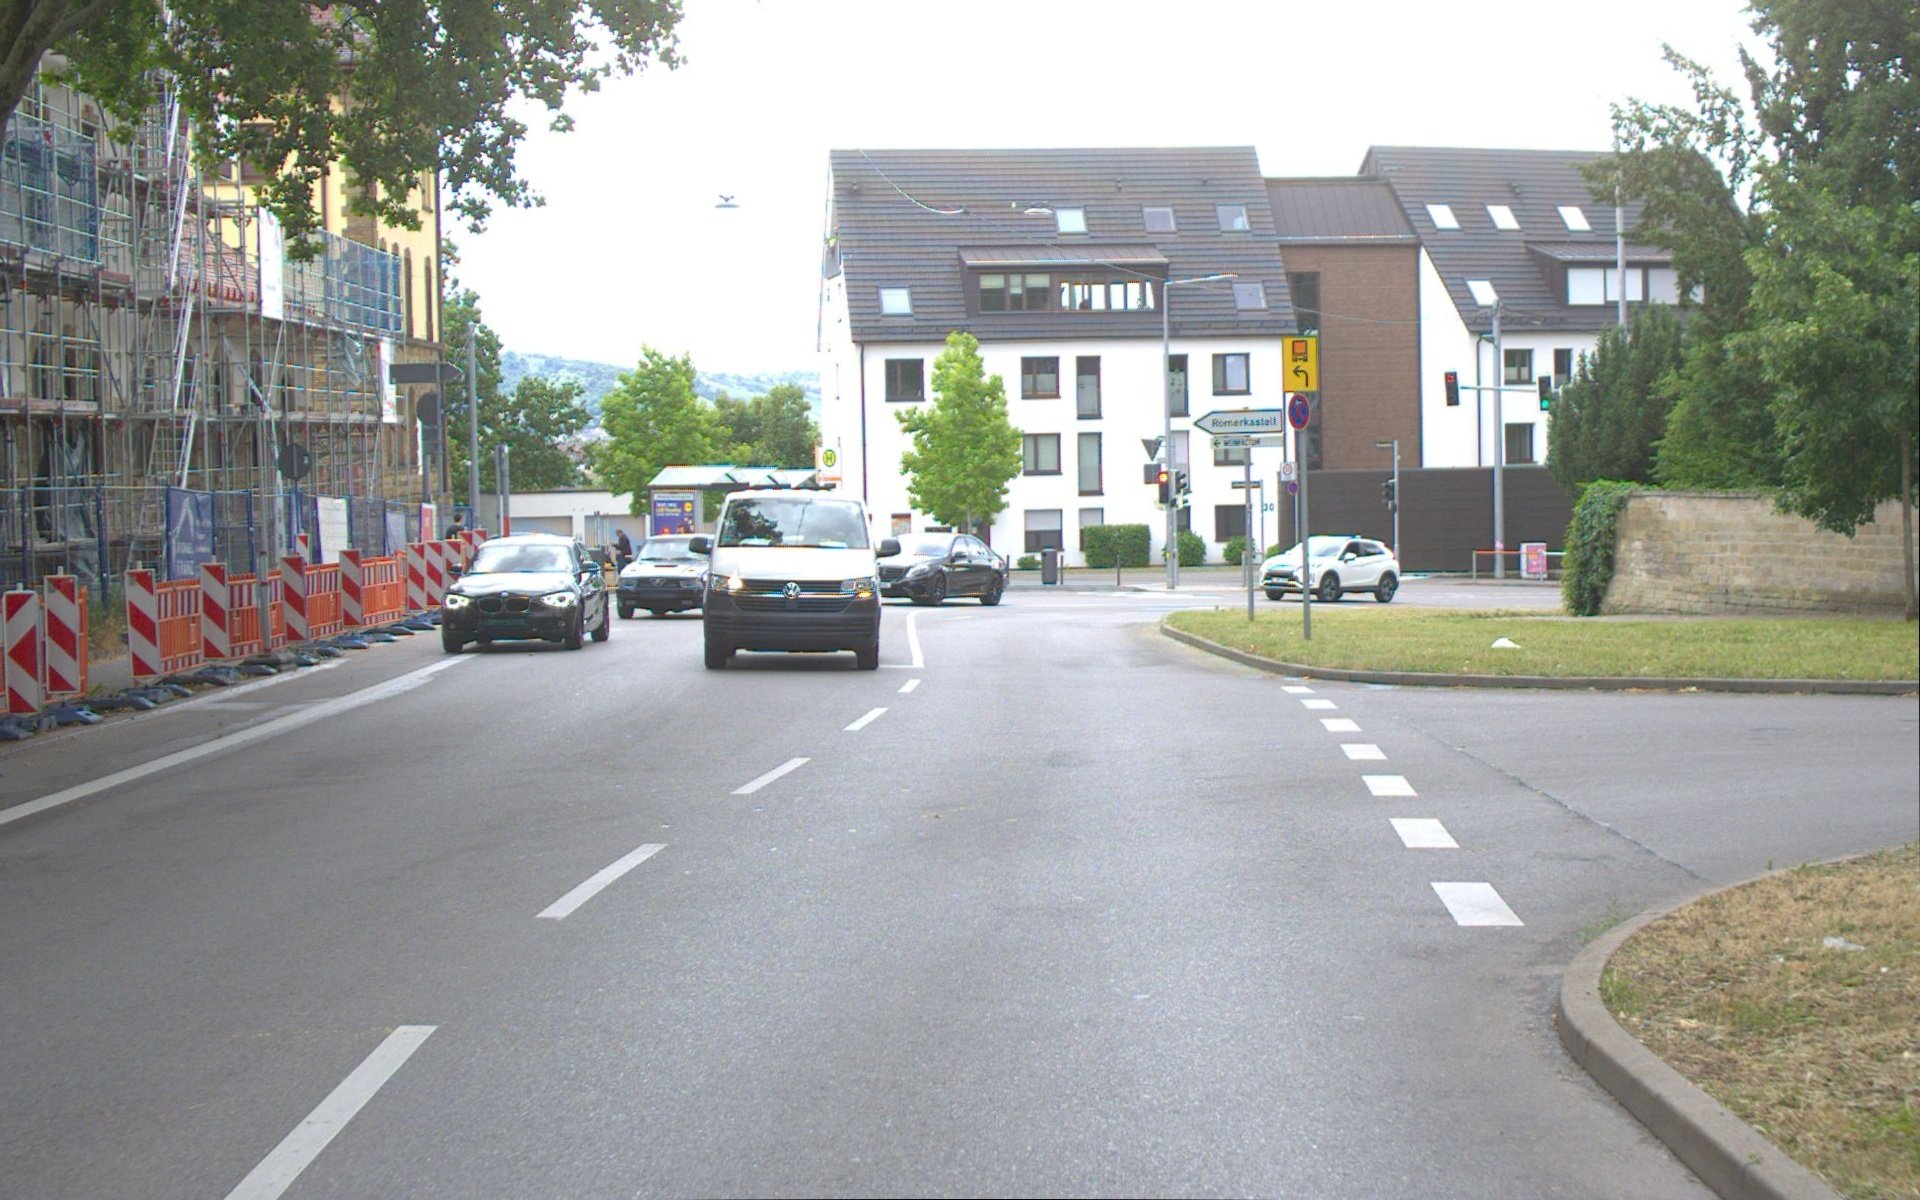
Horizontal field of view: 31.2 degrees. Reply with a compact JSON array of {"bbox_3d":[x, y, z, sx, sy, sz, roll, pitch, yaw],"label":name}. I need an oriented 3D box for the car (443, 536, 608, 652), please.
[{"bbox_3d":[-5.592,-0.112,44.619,1.699,1.421,4.250,0,1,-1],"label":"car"}]

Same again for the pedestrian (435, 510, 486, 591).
[{"bbox_3d":[-10.726,-1.064,73.790,0.923,1.714,0.798,1,0,2],"label":"pedestrian"}]

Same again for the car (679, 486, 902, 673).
[{"bbox_3d":[-1.796,-0.260,38.175,2.205,1.924,5.240,0,1,0],"label":"car"}]

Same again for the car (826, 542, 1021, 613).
[{"bbox_3d":[-0.724,-0.484,70.861,1.703,1.421,4.240,0,1,39],"label":"car"}]

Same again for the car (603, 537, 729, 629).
[{"bbox_3d":[-4.858,-0.314,57.305,1.801,1.453,4.636,0,1,-1],"label":"car"}]

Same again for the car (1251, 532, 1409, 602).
[{"bbox_3d":[9.477,-0.824,87.860,1.795,1.605,4.497,0,-2,40],"label":"car"}]
